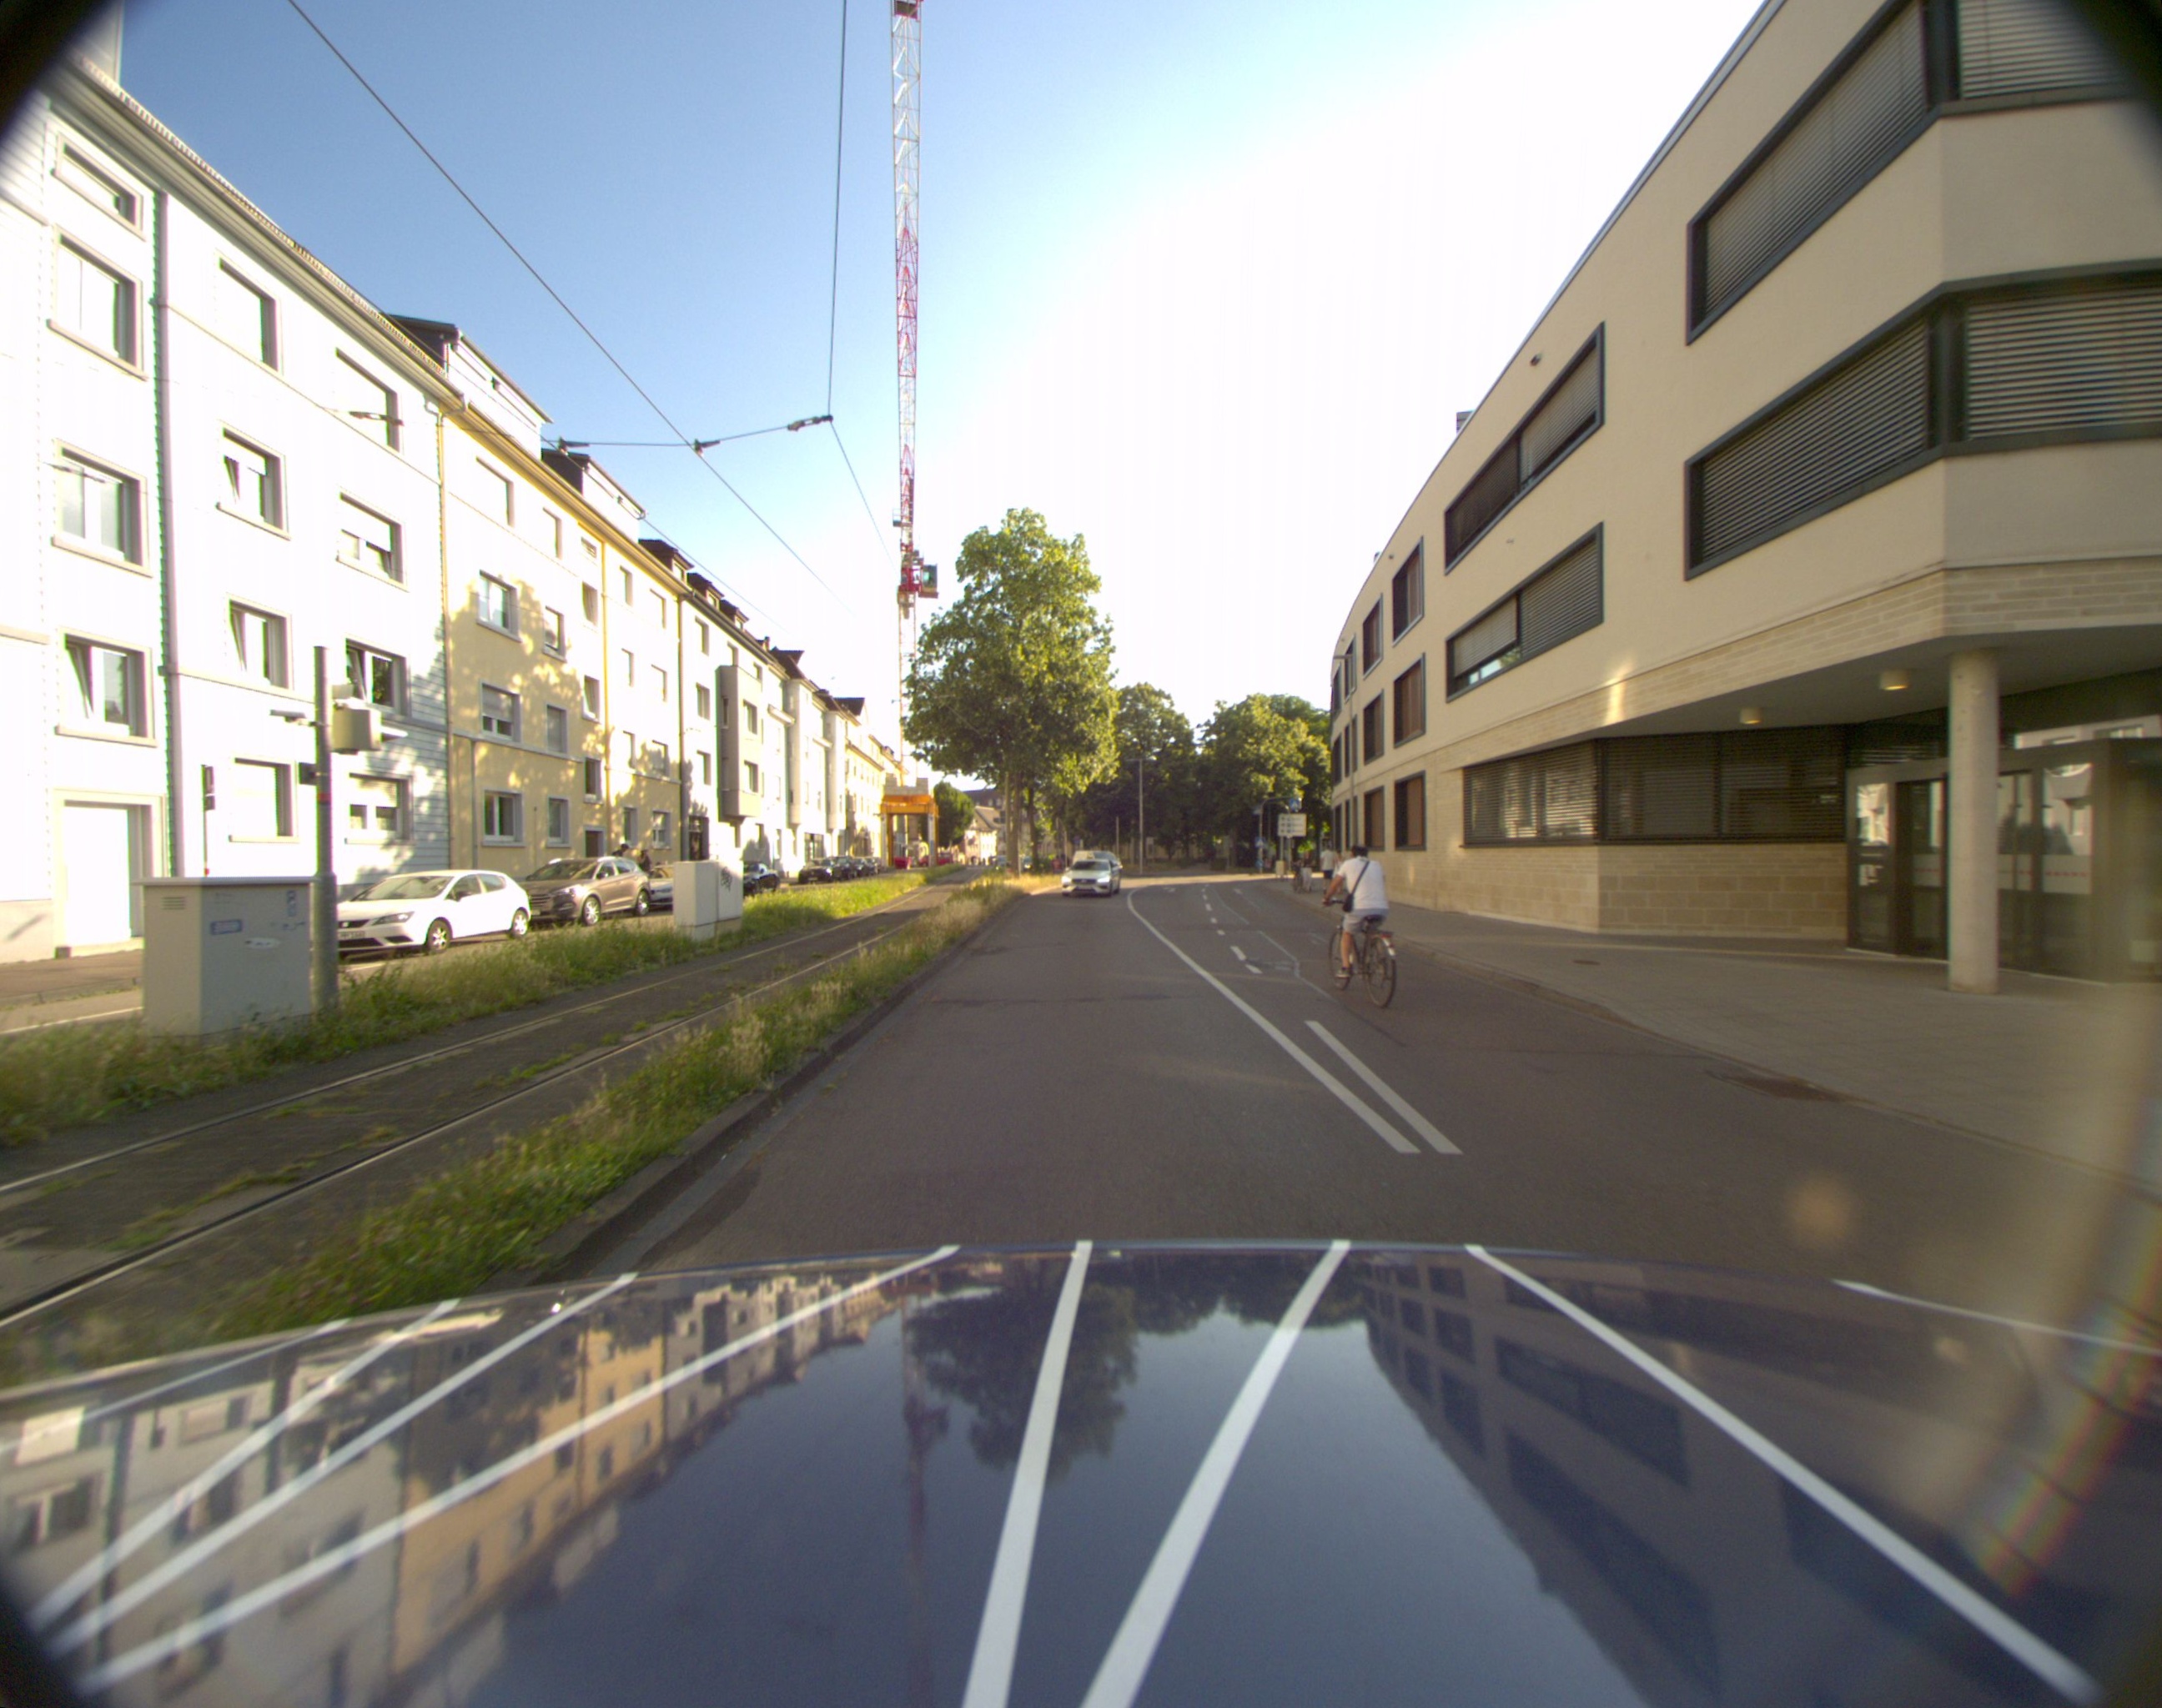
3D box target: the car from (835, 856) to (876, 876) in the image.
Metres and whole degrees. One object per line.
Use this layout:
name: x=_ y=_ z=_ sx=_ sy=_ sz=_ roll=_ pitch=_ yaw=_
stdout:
car: x=-16.441 y=0.838 z=55.578 sx=1.999 sy=1.378 sz=4.208 roll=-1 pitch=0 yaw=-5

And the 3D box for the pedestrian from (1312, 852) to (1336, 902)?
pedestrian: x=9.218 y=0.864 z=28.845 sx=0.606 sy=1.838 sz=0.993 roll=-2 pitch=1 yaw=7

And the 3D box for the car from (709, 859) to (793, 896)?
car: x=-13.569 y=0.921 z=31.556 sx=2.000 sy=1.378 sz=4.443 roll=-1 pitch=0 yaw=-7

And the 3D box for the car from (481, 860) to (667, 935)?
car: x=-12.529 y=0.979 z=19.223 sx=2.000 sy=1.563 sz=4.637 roll=-1 pitch=1 yaw=-7

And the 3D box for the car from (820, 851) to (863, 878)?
car: x=-15.884 y=0.695 z=50.522 sx=2.000 sy=1.738 sz=4.207 roll=-1 pitch=0 yaw=-7

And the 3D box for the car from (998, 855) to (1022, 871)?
car: x=-6.740 y=0.849 z=71.882 sx=2.000 sy=1.510 sz=4.069 roll=-1 pitch=0 yaw=-8

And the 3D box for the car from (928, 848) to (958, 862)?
car: x=-19.221 y=0.204 z=106.132 sx=4.072 sy=1.910 sz=1.998 roll=-1 pitch=0 yaw=-9

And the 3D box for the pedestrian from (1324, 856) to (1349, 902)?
pedestrian: x=9.681 y=0.934 z=28.790 sx=0.704 sy=1.704 sz=0.843 roll=-2 pitch=1 yaw=7

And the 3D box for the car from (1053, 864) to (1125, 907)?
car: x=0.413 y=1.147 z=29.186 sx=1.851 sy=1.455 sz=4.777 roll=-1 pitch=0 yaw=12

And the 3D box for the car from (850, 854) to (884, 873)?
car: x=-17.021 y=0.763 z=60.527 sx=2.000 sy=1.444 sz=4.095 roll=-1 pitch=0 yaw=-7

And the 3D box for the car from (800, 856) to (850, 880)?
car: x=-15.213 y=0.816 z=45.413 sx=2.000 sy=1.378 sz=4.443 roll=-1 pitch=0 yaw=-7

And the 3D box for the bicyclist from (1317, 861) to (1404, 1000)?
bicyclist: x=2.901 y=0.766 z=7.952 sx=0.624 sy=1.372 sz=0.801 roll=0 pitch=1 yaw=0

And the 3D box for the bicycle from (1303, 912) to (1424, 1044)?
bicycle: x=2.902 y=1.228 z=7.997 sx=0.624 sy=1.075 sz=1.783 roll=0 pitch=1 yaw=0

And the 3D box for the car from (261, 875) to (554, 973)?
car: x=-11.951 y=1.140 z=13.996 sx=2.000 sy=1.378 sz=4.442 roll=-1 pitch=0 yaw=-10

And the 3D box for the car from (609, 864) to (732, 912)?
car: x=-13.076 y=1.018 z=24.533 sx=2.000 sy=1.378 sz=4.443 roll=-1 pitch=0 yaw=-7

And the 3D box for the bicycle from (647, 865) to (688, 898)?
bicycle: x=-15.673 y=1.001 z=28.865 sx=0.536 sy=1.125 sz=2.306 roll=-1 pitch=1 yaw=-7

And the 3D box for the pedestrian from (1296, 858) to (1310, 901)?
pedestrian: x=8.788 y=1.003 z=30.017 sx=0.474 sy=1.638 sz=0.603 roll=-1 pitch=0 yaw=18

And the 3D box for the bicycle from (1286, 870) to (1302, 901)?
bicycle: x=8.495 y=1.235 z=30.322 sx=0.441 sy=1.171 sz=1.969 roll=-2 pitch=-1 yaw=11

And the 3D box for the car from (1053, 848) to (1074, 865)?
car: x=-2.078 y=0.288 z=87.323 sx=2.000 sy=1.783 sz=3.997 roll=-2 pitch=1 yaw=-6

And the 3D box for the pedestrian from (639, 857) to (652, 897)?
pedestrian: x=-16.530 y=0.862 z=28.847 sx=0.305 sy=1.506 sz=0.442 roll=0 pitch=1 yaw=-14

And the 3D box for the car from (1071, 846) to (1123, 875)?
car: x=1.030 y=0.447 z=52.083 sx=2.002 sy=1.843 sz=4.894 roll=-1 pitch=0 yaw=-19

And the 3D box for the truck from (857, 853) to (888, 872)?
truck: x=-18.032 y=0.747 z=65.843 sx=2.000 sy=1.576 sz=4.095 roll=-1 pitch=0 yaw=-7

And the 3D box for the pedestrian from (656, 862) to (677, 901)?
pedestrian: x=-15.554 y=1.043 z=28.517 sx=0.525 sy=1.432 sz=0.461 roll=-1 pitch=1 yaw=-6
